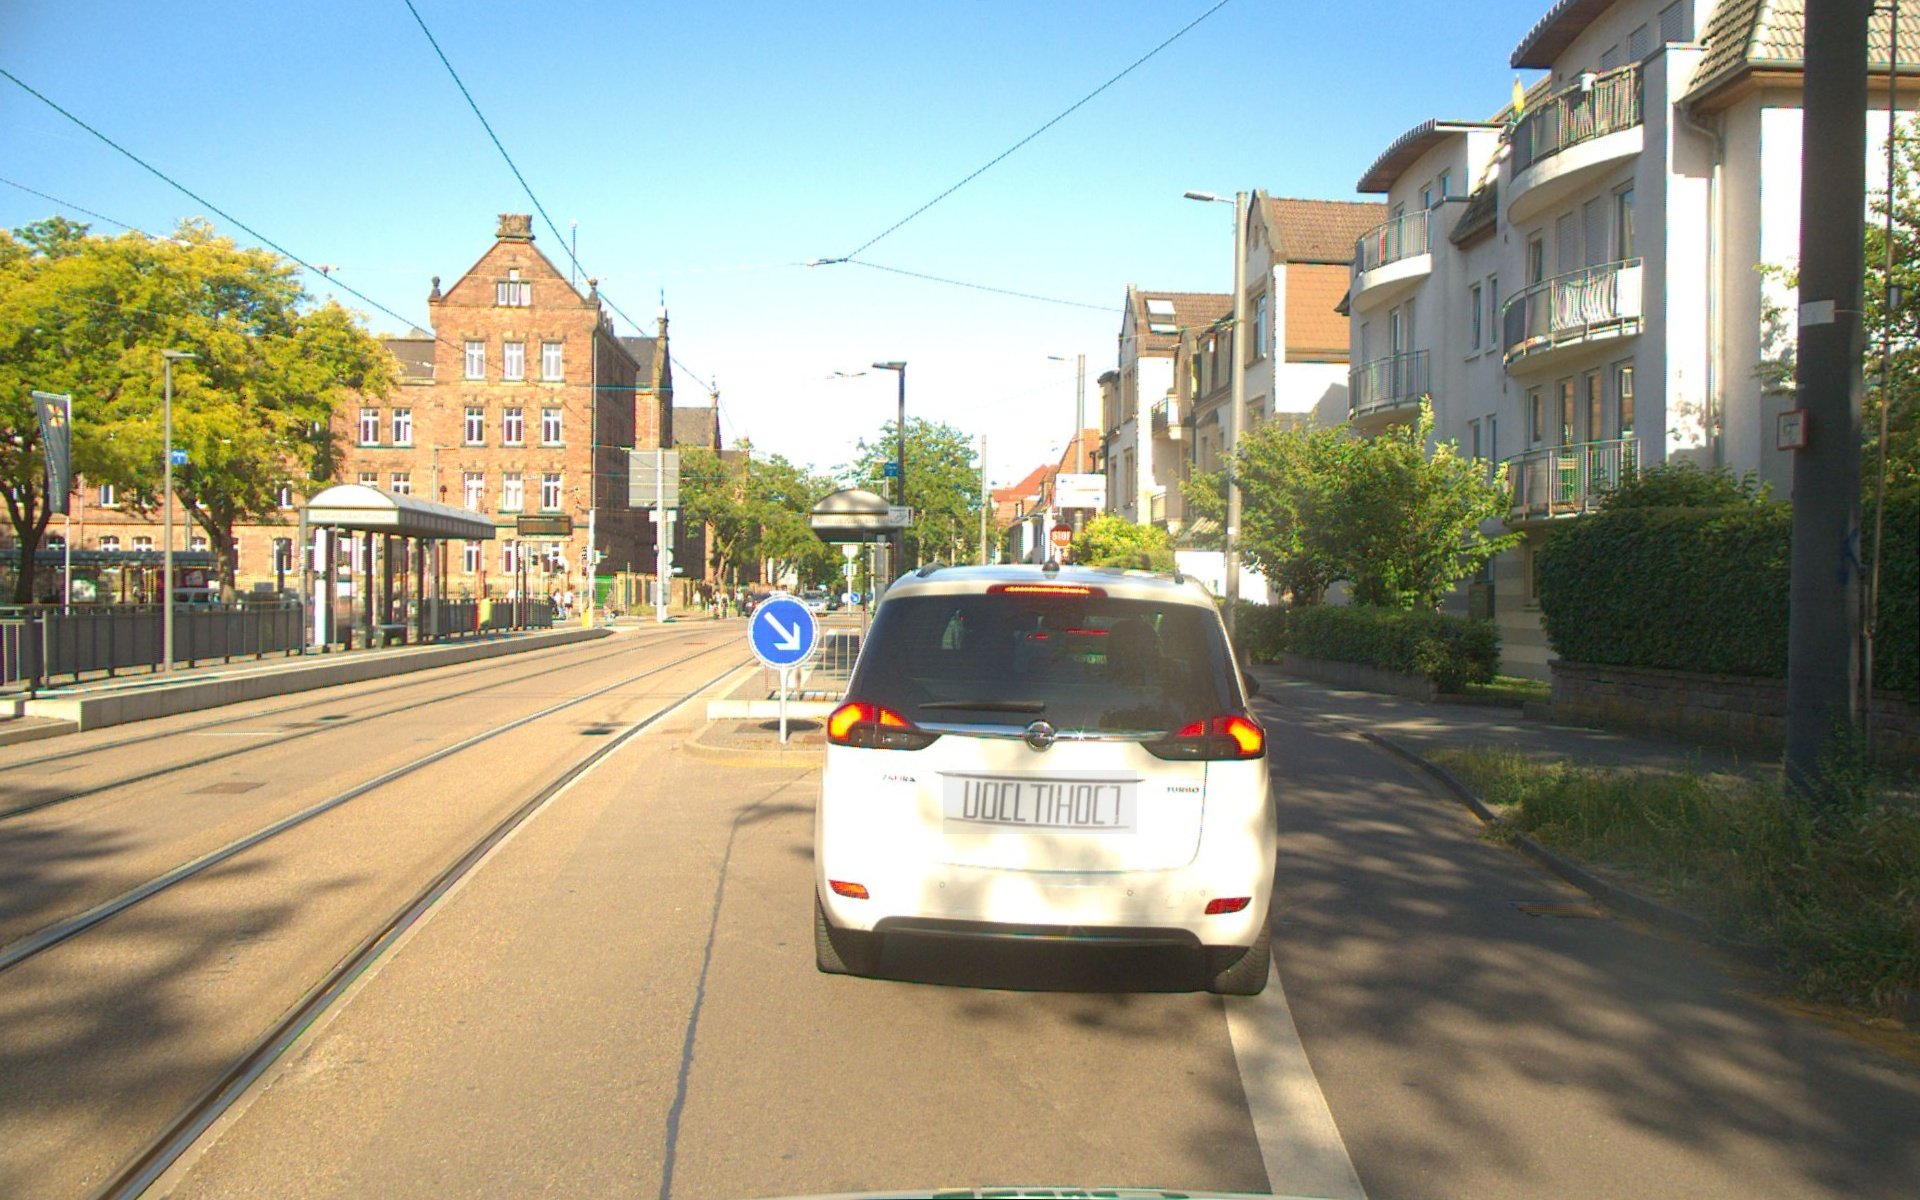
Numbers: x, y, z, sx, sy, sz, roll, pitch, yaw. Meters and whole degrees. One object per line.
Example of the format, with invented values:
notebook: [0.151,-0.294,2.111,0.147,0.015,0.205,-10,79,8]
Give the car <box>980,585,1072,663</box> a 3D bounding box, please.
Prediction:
car: [1.381,0.489,36.189,1.793,1.607,4.009,0,0,-1]

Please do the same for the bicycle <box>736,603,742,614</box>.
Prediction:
bicycle: [-15.439,0.583,115.379,0.337,0.737,0.996,1,0,-4]

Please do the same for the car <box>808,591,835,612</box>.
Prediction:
car: [-10.933,0.129,130.482,1.953,1.657,3.998,0,0,-3]

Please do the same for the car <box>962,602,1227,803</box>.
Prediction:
car: [1.031,0.746,13.983,1.912,1.422,4.001,0,0,1]

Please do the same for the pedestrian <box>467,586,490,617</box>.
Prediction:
pedestrian: [-25.955,0.081,89.132,0.798,1.616,0.920,1,-1,-44]

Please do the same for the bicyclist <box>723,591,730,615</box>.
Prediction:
bicyclist: [-15.377,0.188,108.910,0.435,1.580,0.495,0,0,-4]

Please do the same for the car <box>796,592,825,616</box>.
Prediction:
car: [-10.344,0.250,114.252,1.955,1.657,3.996,0,0,-5]

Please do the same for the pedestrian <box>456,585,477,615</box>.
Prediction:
pedestrian: [-26.395,0.001,88.448,0.914,1.616,0.803,1,-1,-8]

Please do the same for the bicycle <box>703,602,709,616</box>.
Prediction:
bicycle: [-17.648,0.649,114.858,0.337,0.966,0.996,1,0,-4]

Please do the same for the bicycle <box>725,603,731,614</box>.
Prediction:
bicycle: [-16.134,0.568,115.162,0.337,0.737,0.996,1,0,-4]

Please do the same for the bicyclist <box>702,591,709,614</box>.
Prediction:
bicyclist: [-17.642,0.173,114.822,0.435,1.580,0.495,0,0,-4]

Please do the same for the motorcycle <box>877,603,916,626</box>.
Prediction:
motorcycle: [-3.294,0.746,85.995,2.050,1.219,0.606,0,0,-34]

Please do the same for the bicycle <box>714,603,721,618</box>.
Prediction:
bicycle: [-15.605,0.649,106.365,0.337,0.966,0.996,1,0,-4]

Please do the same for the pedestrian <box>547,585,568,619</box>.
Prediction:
pedestrian: [-20.815,0.114,85.610,0.825,1.721,1.029,1,0,-1]

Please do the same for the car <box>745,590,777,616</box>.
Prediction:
car: [-12.850,0.185,106.886,1.955,1.657,3.996,0,0,-5]

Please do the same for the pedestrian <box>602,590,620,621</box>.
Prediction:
pedestrian: [-20.199,0.330,95.648,0.719,1.744,0.706,1,-1,22]

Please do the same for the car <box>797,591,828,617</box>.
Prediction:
car: [-9.540,0.235,107.159,1.955,1.657,3.996,0,0,-5]

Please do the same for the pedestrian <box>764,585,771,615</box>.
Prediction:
pedestrian: [-13.045,0.007,112.051,0.435,2.049,0.495,0,0,-4]

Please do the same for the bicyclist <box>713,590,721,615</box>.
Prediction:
bicyclist: [-15.148,0.167,103.047,0.435,1.580,0.742,0,0,-4]

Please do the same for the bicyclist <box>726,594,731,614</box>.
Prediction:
bicyclist: [-16.132,0.267,115.171,0.337,1.343,0.404,1,-1,-4]

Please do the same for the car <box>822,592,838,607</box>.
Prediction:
car: [-16.910,-0.067,215.632,1.953,1.896,3.998,1,0,-2]

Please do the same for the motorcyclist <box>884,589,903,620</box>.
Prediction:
motorcyclist: [-3.456,0.233,85.878,0.834,1.650,0.608,0,0,-34]

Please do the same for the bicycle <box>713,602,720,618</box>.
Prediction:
bicycle: [-15.157,0.642,102.839,0.337,0.966,1.159,1,0,-4]

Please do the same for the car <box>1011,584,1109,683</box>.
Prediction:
car: [1.715,0.548,29.270,1.603,1.629,3.855,0,0,1]

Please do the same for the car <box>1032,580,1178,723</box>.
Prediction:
car: [1.741,0.583,20.842,1.603,1.629,3.855,0,0,1]

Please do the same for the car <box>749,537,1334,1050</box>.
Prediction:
car: [0.456,0.647,7.595,1.951,1.673,3.996,1,0,6]

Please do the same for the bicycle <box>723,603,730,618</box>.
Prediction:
bicycle: [-15.387,0.663,108.917,0.337,0.966,0.996,1,0,-4]

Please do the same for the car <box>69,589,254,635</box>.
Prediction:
car: [-35.722,0.522,74.191,6.810,1.954,2.991,0,0,-2]

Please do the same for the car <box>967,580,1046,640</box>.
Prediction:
car: [1.202,0.254,44.311,1.953,1.529,3.999,0,0,-1]

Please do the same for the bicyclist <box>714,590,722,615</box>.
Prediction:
bicyclist: [-15.568,0.174,106.323,0.435,1.580,0.495,0,0,-4]

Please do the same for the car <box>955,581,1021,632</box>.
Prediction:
car: [0.832,0.187,51.766,1.953,1.529,3.999,0,0,-1]

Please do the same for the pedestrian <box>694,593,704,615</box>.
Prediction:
pedestrian: [-21.124,0.329,133.808,0.720,1.744,0.753,1,-1,-6]

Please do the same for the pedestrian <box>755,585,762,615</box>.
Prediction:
pedestrian: [-13.640,-0.005,111.733,0.435,2.049,0.495,0,0,-4]

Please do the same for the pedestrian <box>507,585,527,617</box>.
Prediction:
pedestrian: [-22.810,0.049,85.159,0.786,1.616,0.934,1,0,-3]

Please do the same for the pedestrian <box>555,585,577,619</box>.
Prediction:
pedestrian: [-20.084,0.114,84.378,0.877,1.713,1.029,1,0,-1]
